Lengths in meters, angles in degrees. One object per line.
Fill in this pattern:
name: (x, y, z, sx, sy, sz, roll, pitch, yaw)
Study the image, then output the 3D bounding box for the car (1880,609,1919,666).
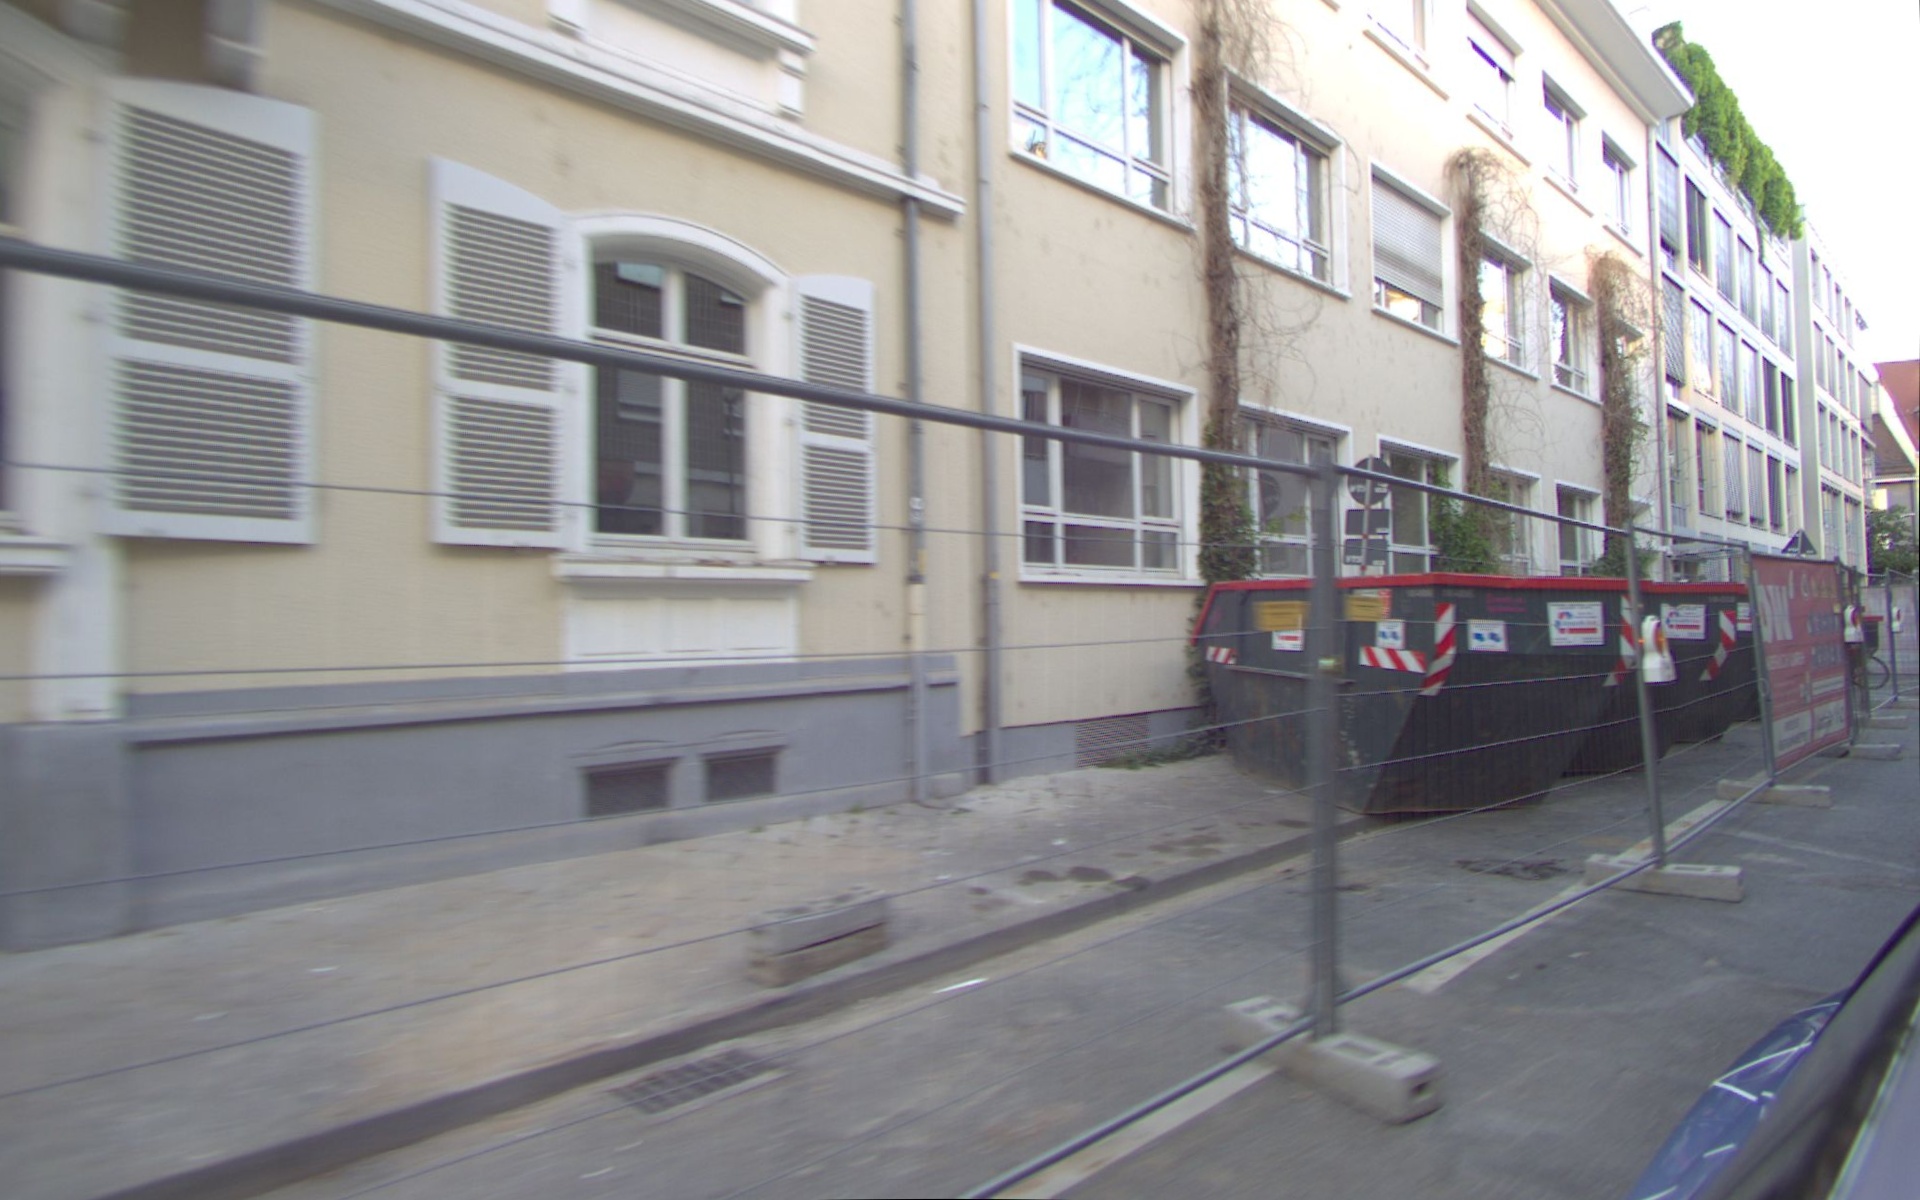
car: (23.553, 0.853, 24.464, 3.713, 1.309, 1.491, 0, -3, -41)

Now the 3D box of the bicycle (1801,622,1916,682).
bicycle: (17.435, 0.991, 19.702, 0.463, 1.096, 1.777, -1, -1, -7)

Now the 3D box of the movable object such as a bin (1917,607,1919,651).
movable object such as a bin: (27.516, 0.799, 27.742, 3.713, 1.309, 1.491, 0, -3, -41)
